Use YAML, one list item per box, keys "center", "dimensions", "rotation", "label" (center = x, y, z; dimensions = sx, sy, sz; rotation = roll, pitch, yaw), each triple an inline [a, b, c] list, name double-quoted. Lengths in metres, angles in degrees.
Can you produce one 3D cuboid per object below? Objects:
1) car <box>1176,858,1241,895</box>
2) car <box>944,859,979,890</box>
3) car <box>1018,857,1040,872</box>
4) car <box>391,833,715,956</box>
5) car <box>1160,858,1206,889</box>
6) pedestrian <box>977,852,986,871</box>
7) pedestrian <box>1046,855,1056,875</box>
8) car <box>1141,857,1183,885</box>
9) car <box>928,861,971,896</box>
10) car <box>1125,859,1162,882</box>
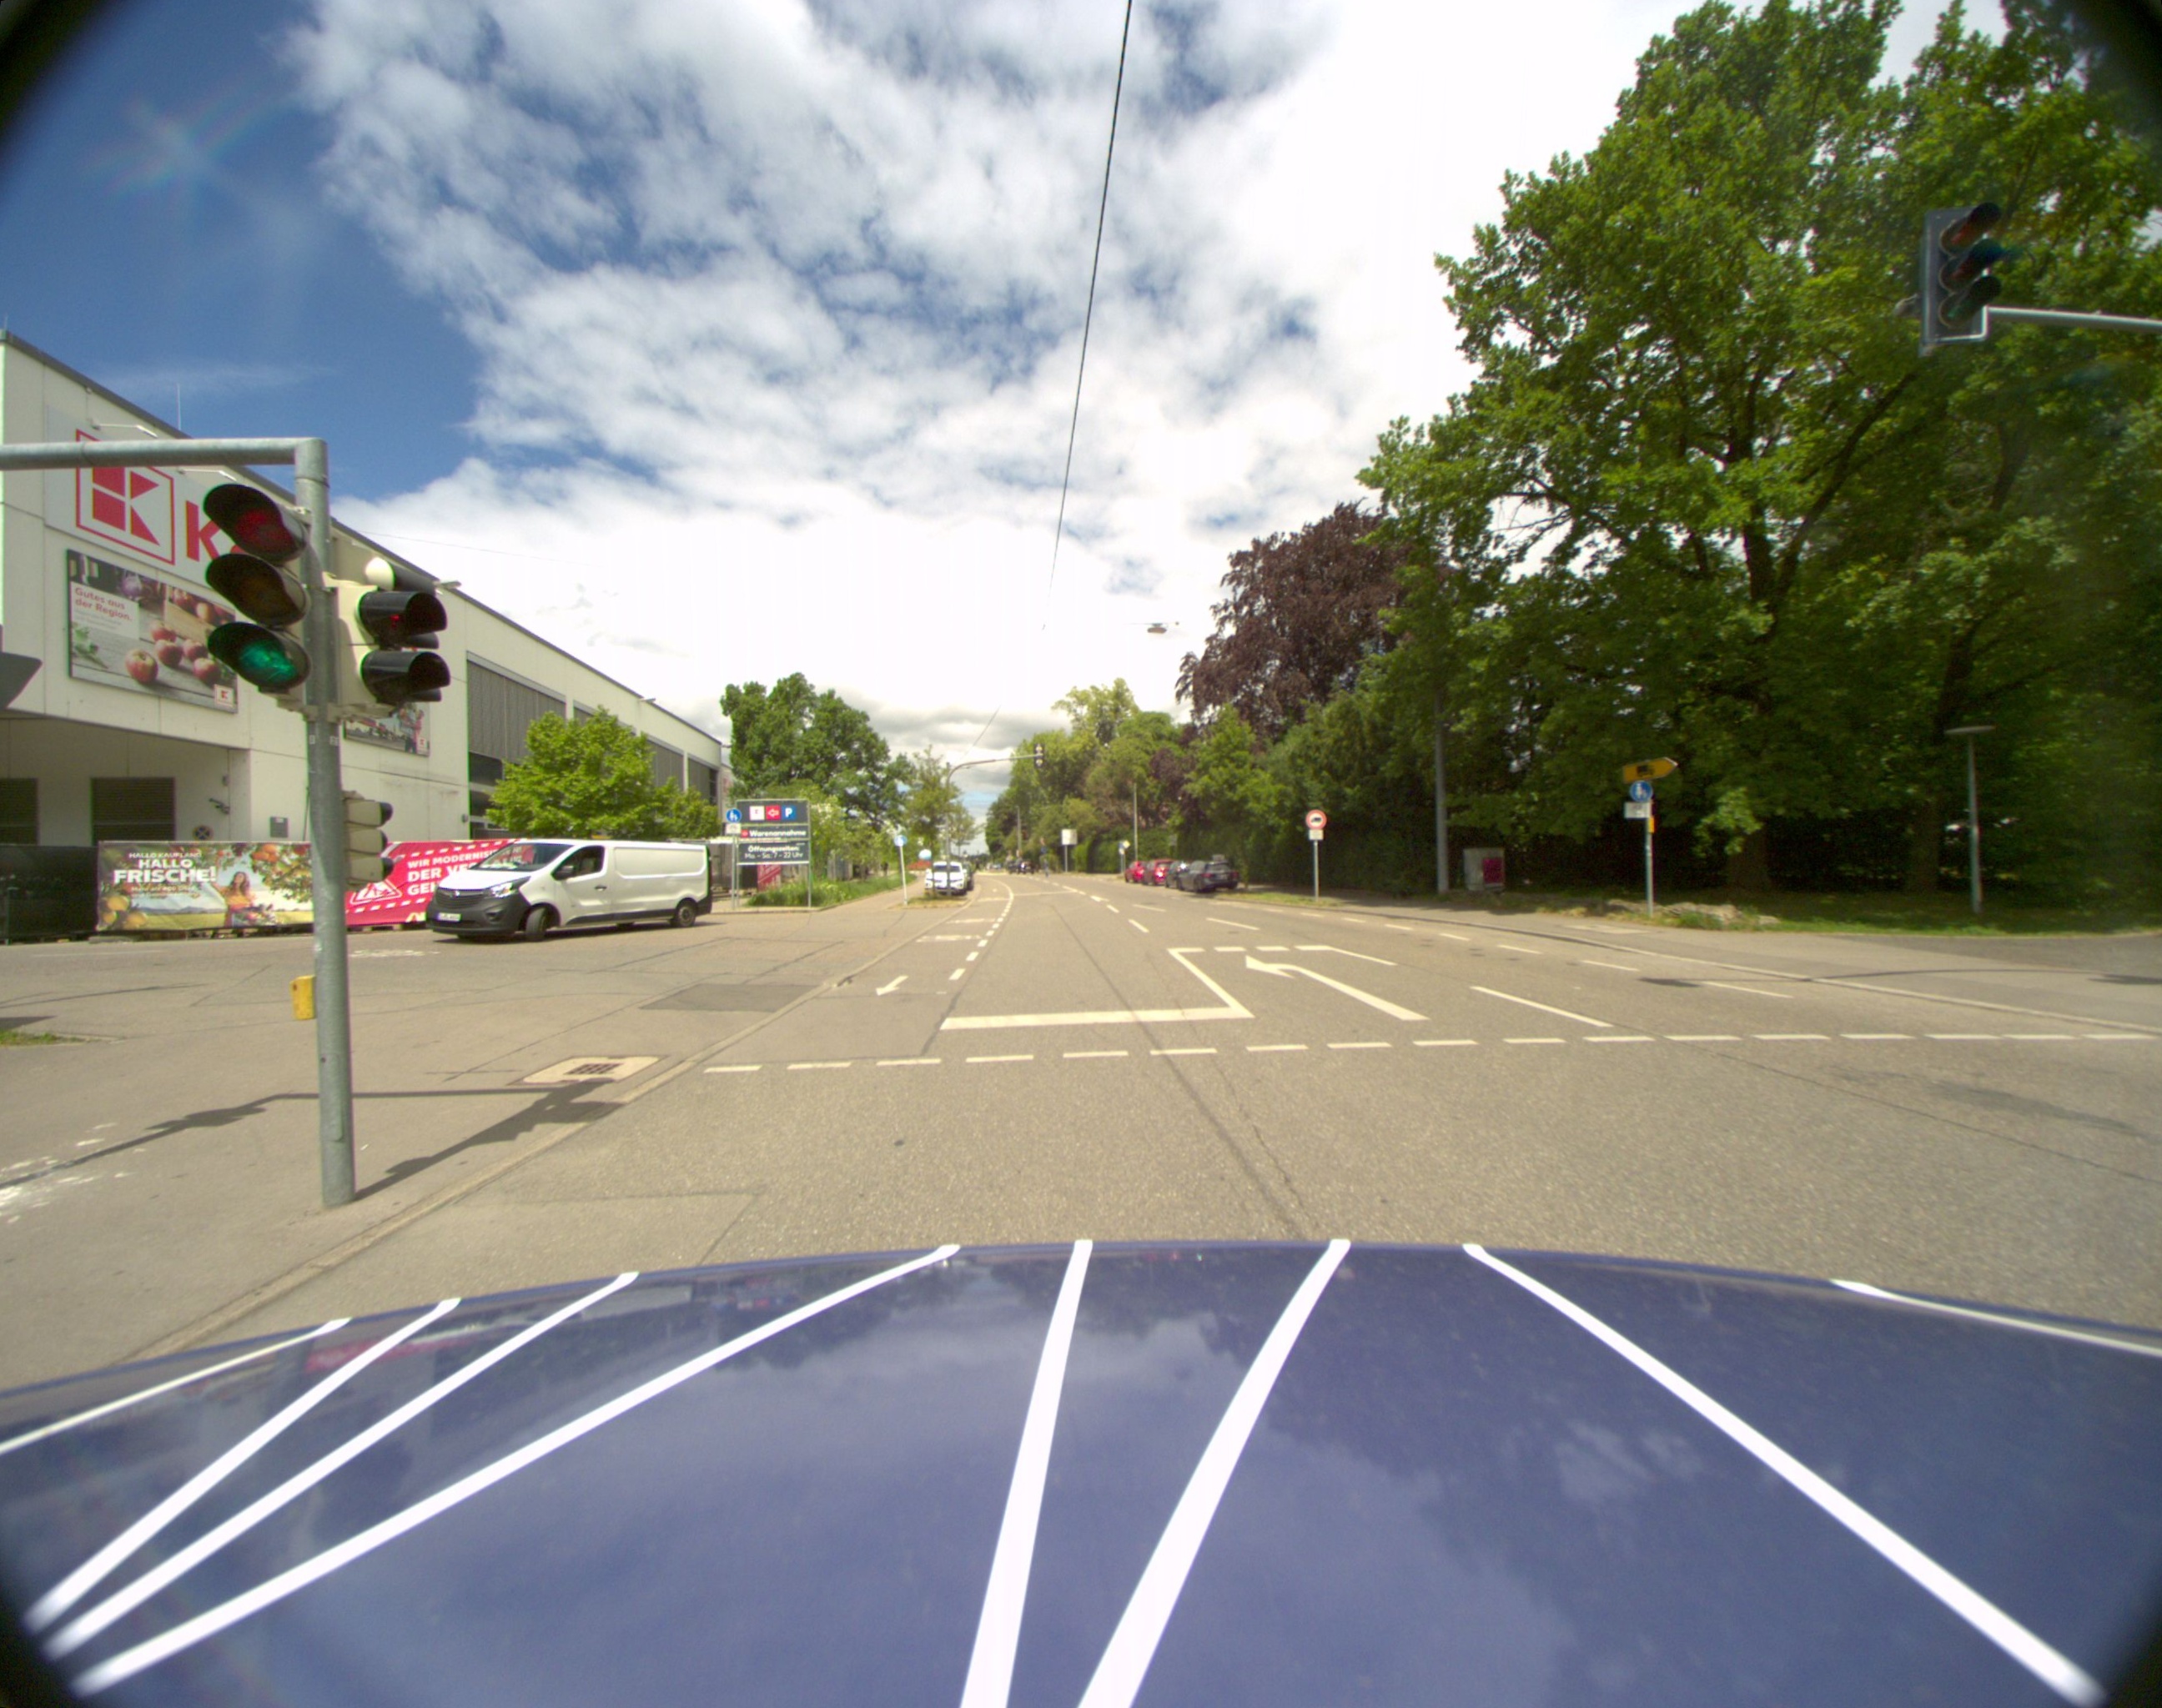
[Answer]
- center: [5.729, 0.980, 34.564]
  dimensions: [1.688, 1.407, 4.398]
  rotation: [-3, 1, -7]
  label: "car"
- center: [-6.530, 1.100, 41.801]
  dimensions: [1.603, 1.552, 3.789]
  rotation: [1, 0, -5]
  label: "car"
- center: [-5.657, 1.137, 82.244]
  dimensions: [1.852, 1.546, 3.946]
  rotation: [-3, 0, -11]
  label: "car"
- center: [-10.262, 0.686, 15.491]
  dimensions: [1.996, 2.011, 5.358]
  rotation: [2, 0, 15]
  label: "car"
- center: [5.252, 0.974, 39.390]
  dimensions: [1.559, 1.404, 3.191]
  rotation: [-3, 1, -7]
  label: "car"
- center: [-10.935, 0.813, 83.503]
  dimensions: [0.700, 2.002, 0.724]
  rotation: [-3, 1, 3]
  label: "pedestrian"
- center: [-2.559, 0.965, 64.999]
  dimensions: [0.554, 1.663, 0.587]
  rotation: [-3, 0, -26]
  label: "pedestrian"
- center: [4.612, 0.963, 43.677]
  dimensions: [1.524, 1.469, 3.322]
  rotation: [-3, 0, -10]
  label: "car"
- center: [-6.201, 1.116, 36.127]
  dimensions: [1.796, 1.522, 3.918]
  rotation: [1, 0, -6]
  label: "car"
- center: [3.970, 1.026, 48.842]
  dimensions: [1.531, 1.358, 3.372]
  rotation: [-3, 1, -10]
  label: "car"
